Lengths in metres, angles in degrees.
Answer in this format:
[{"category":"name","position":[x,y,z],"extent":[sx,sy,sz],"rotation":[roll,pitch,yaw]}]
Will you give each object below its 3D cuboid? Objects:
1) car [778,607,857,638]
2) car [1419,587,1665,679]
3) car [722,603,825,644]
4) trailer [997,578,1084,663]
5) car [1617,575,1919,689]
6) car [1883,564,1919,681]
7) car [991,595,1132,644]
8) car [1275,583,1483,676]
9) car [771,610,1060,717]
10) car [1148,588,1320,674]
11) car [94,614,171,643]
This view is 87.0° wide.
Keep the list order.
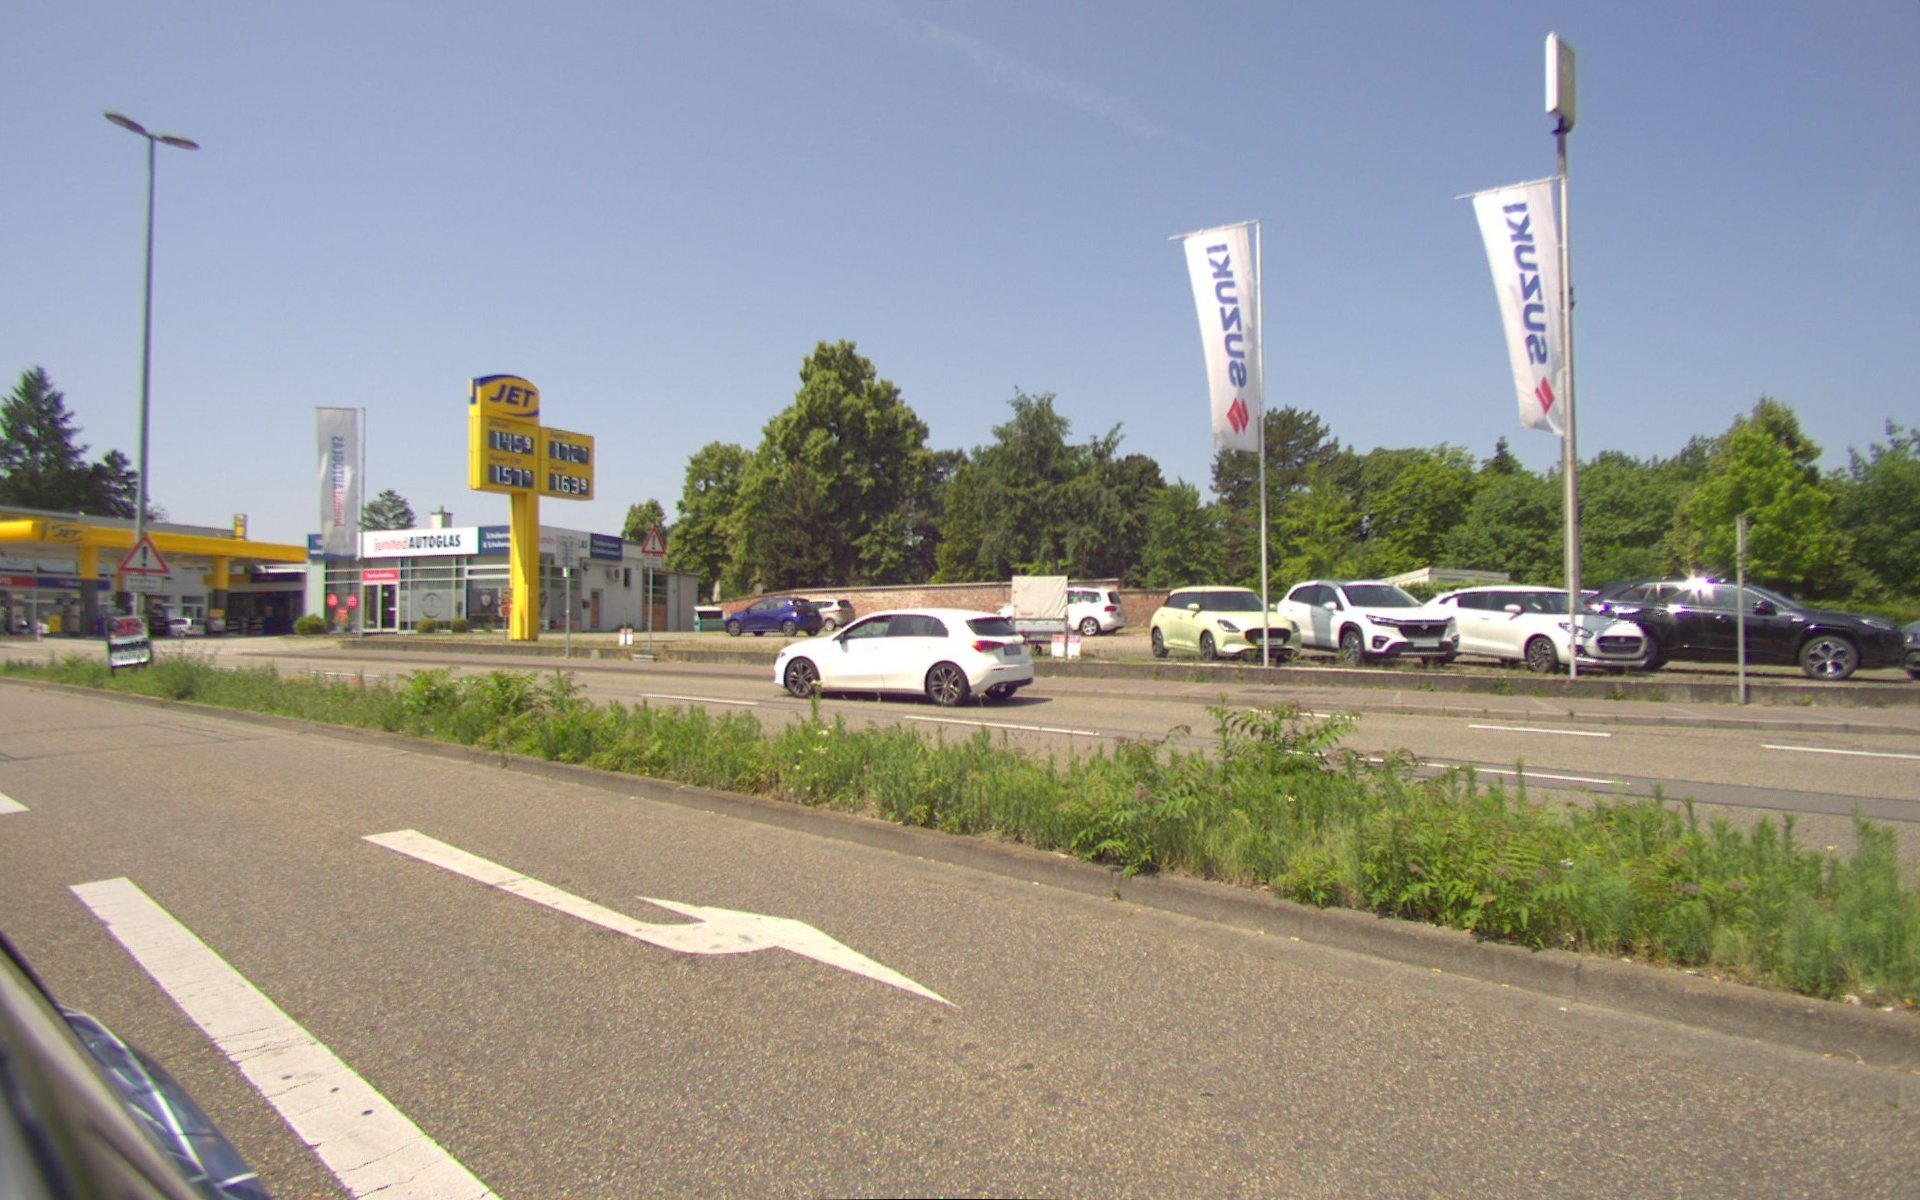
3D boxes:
[{"category":"car","position":[-7.035,1.108,49.880],"extent":[3.611,1.517,1.606],"rotation":[-1,-1,26]},{"category":"car","position":[10.143,0.541,18.036],"extent":[1.689,1.443,3.970],"rotation":[1,0,-8]},{"category":"car","position":[-7.130,0.888,38.764],"extent":[3.611,1.517,1.680],"rotation":[-1,-1,26]},{"category":"trailer","position":[1.679,0.425,21.778],"extent":[1.670,1.717,2.434],"rotation":[0,-1,1]},{"category":"car","position":[13.824,0.486,17.392],"extent":[4.015,1.737,1.820],"rotation":[0,0,43]},{"category":"car","position":[17.973,0.426,16.674],"extent":[4.240,1.916,1.833],"rotation":[2,-1,-10]},{"category":"car","position":[3.576,0.685,35.884],"extent":[4.728,1.662,1.681],"rotation":[-1,-1,24]},{"category":"car","position":[7.703,0.499,19.079],"extent":[1.888,1.552,3.969],"rotation":[0,0,-7]},{"category":"car","position":[-0.753,0.892,15.822],"extent":[4.255,1.435,1.853],"rotation":[0,-1,33]},{"category":"car","position":[5.288,0.566,20.075],"extent":[1.729,1.521,3.829],"rotation":[0,0,-12]},{"category":"car","position":[-45.873,1.570,56.087],"extent":[4.188,1.554,1.643],"rotation":[-1,0,24]}]
